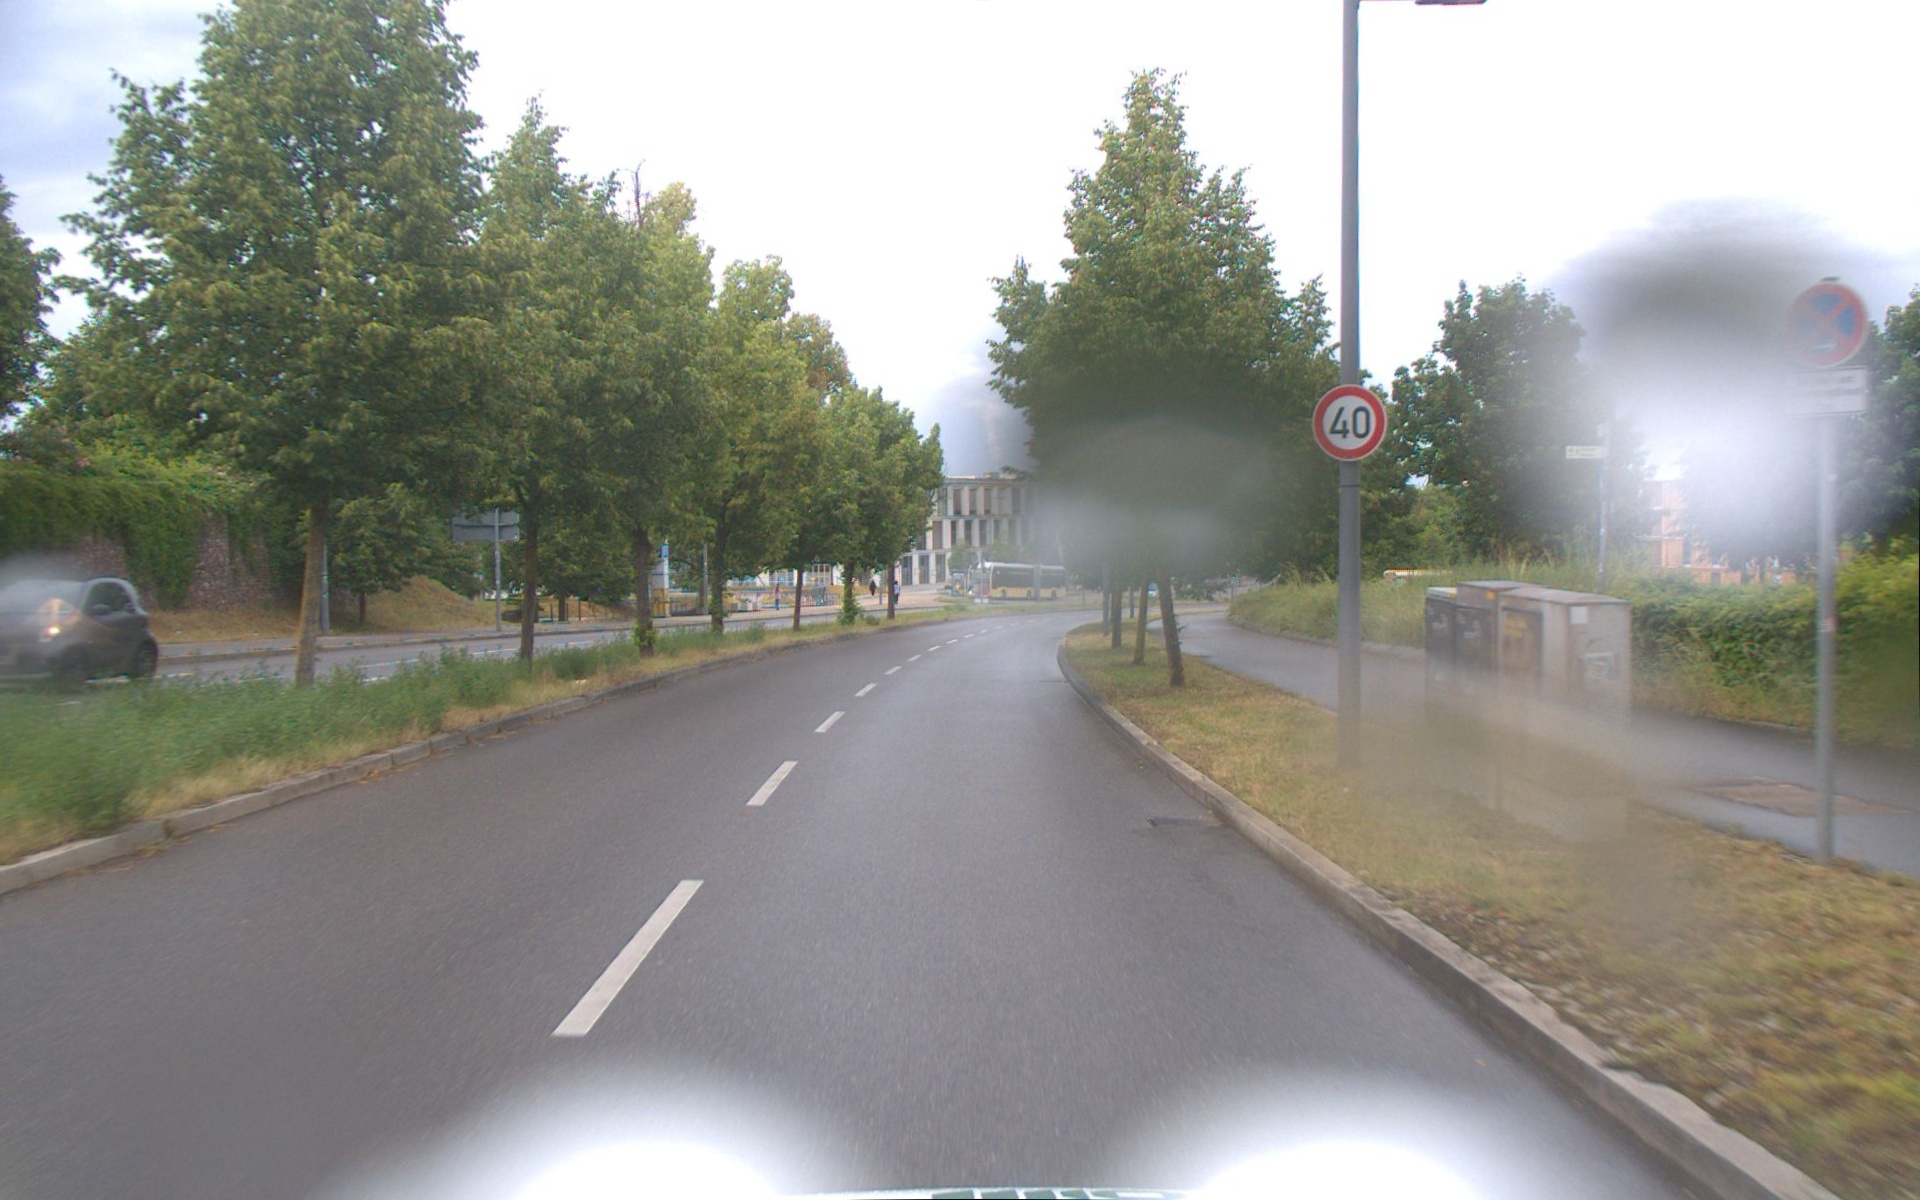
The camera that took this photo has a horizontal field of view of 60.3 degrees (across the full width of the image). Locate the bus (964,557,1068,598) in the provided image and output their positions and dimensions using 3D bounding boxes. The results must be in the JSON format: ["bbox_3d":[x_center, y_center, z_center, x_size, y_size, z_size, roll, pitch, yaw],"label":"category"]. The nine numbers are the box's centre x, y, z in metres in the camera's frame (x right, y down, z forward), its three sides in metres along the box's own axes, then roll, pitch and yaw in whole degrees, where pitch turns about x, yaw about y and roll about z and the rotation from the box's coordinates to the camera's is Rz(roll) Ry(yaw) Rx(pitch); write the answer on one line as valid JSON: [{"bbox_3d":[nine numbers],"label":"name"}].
[{"bbox_3d":[5.615,-2.055,158.465,2.730,3.416,18.208,0,-1,26],"label":"bus"}]

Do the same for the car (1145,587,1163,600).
[{"bbox_3d":[23.166,-0.782,197.654,1.449,1.520,2.529,0,-1,24],"label":"car"}]

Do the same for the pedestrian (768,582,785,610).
[{"bbox_3d":[-11.197,-0.247,100.812,0.796,1.649,0.936,0,-1,12],"label":"pedestrian"}]

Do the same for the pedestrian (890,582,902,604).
[{"bbox_3d":[-4.556,-0.502,118.052,0.818,1.601,0.718,0,-1,-5],"label":"pedestrian"}]

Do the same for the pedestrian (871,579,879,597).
[{"bbox_3d":[-7.230,-1.006,140.791,0.668,1.551,0.719,0,-1,1],"label":"pedestrian"}]

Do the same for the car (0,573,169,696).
[{"bbox_3d":[-12.415,0.417,22.780,1.652,1.566,2.916,0,1,0],"label":"car"}]
